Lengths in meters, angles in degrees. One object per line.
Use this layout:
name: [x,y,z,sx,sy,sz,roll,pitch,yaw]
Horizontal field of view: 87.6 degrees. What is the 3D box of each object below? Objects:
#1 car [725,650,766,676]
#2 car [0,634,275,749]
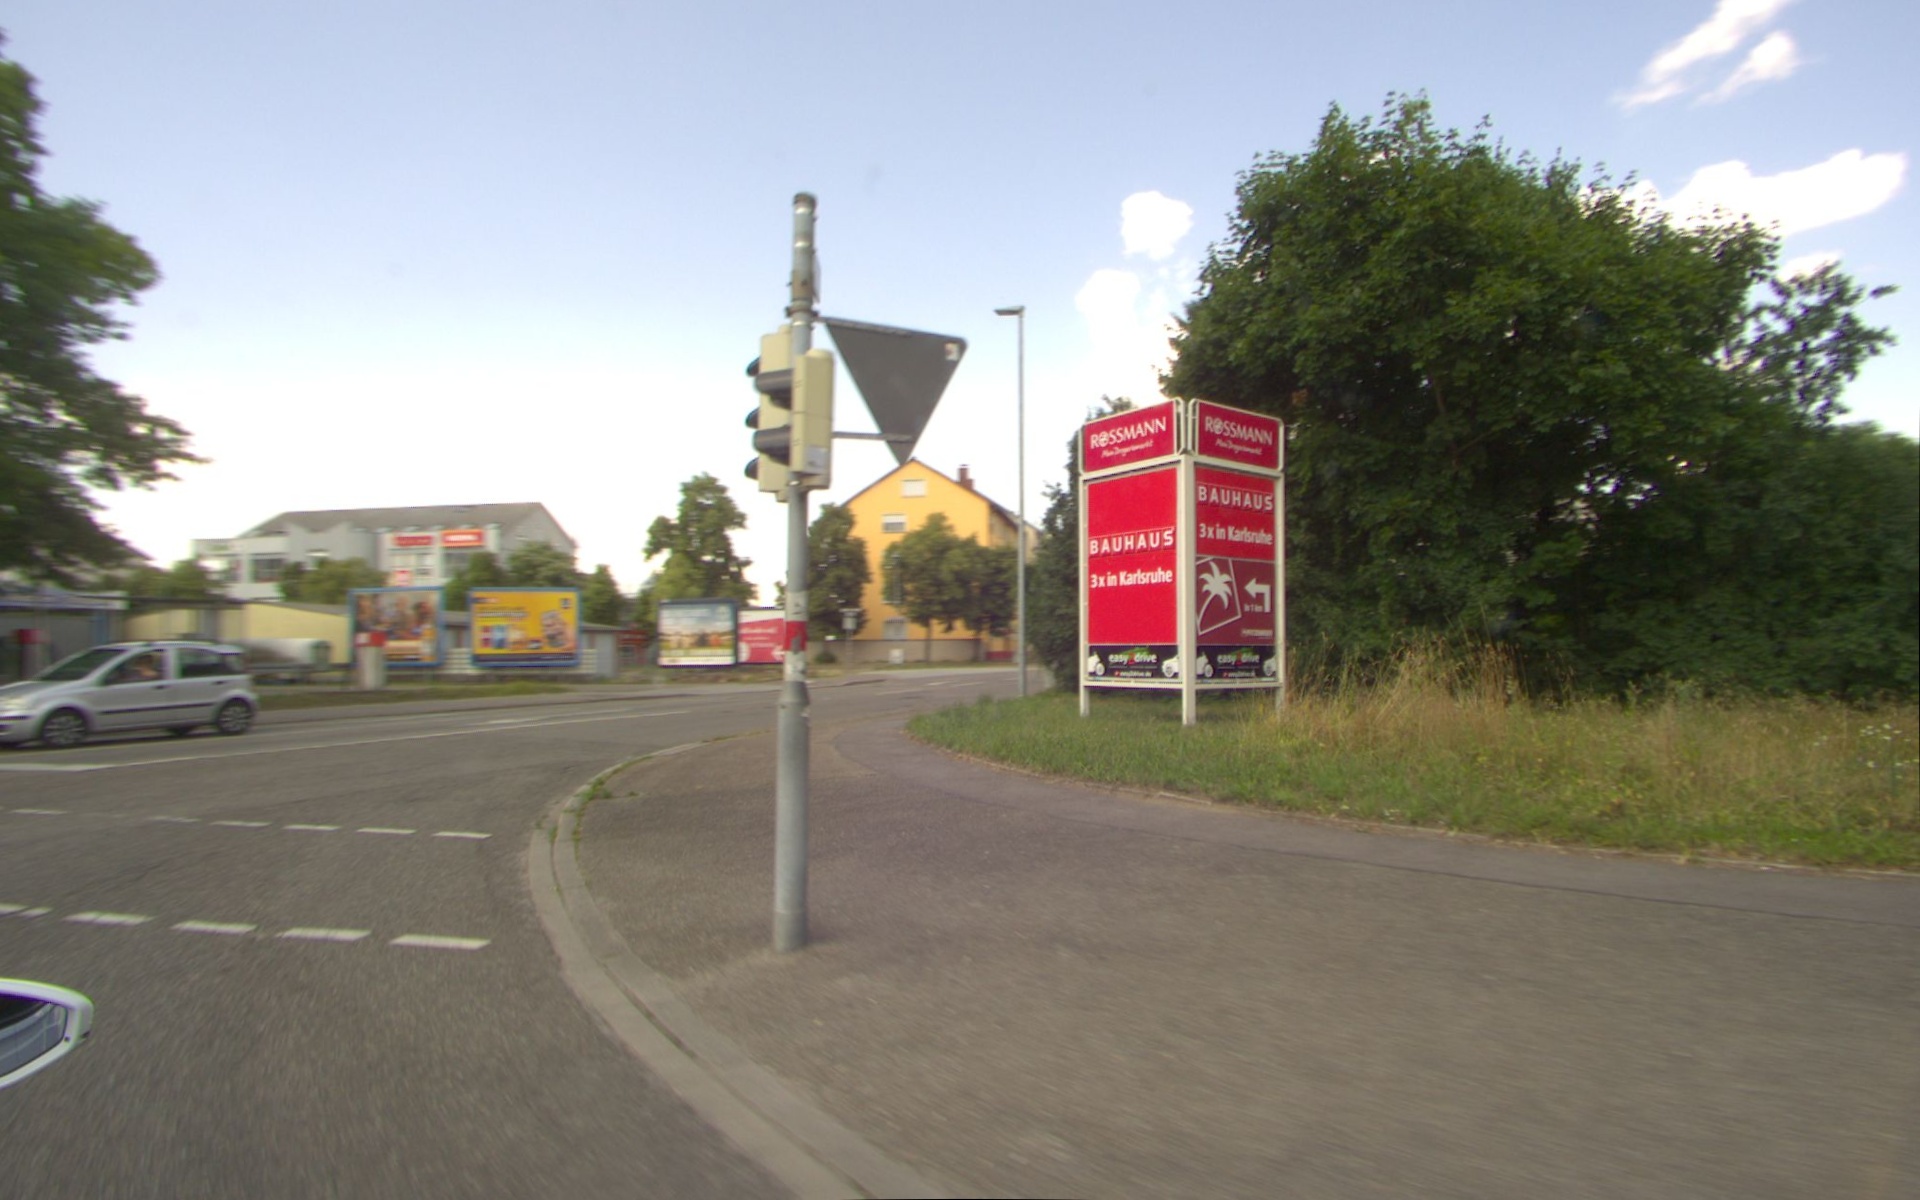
car: [-14.346,4.212,67.194,1.620,1.558,3.901,-1,-1,5]
car: [-12.833,1.314,15.358,1.533,1.536,3.602,-1,-3,22]
